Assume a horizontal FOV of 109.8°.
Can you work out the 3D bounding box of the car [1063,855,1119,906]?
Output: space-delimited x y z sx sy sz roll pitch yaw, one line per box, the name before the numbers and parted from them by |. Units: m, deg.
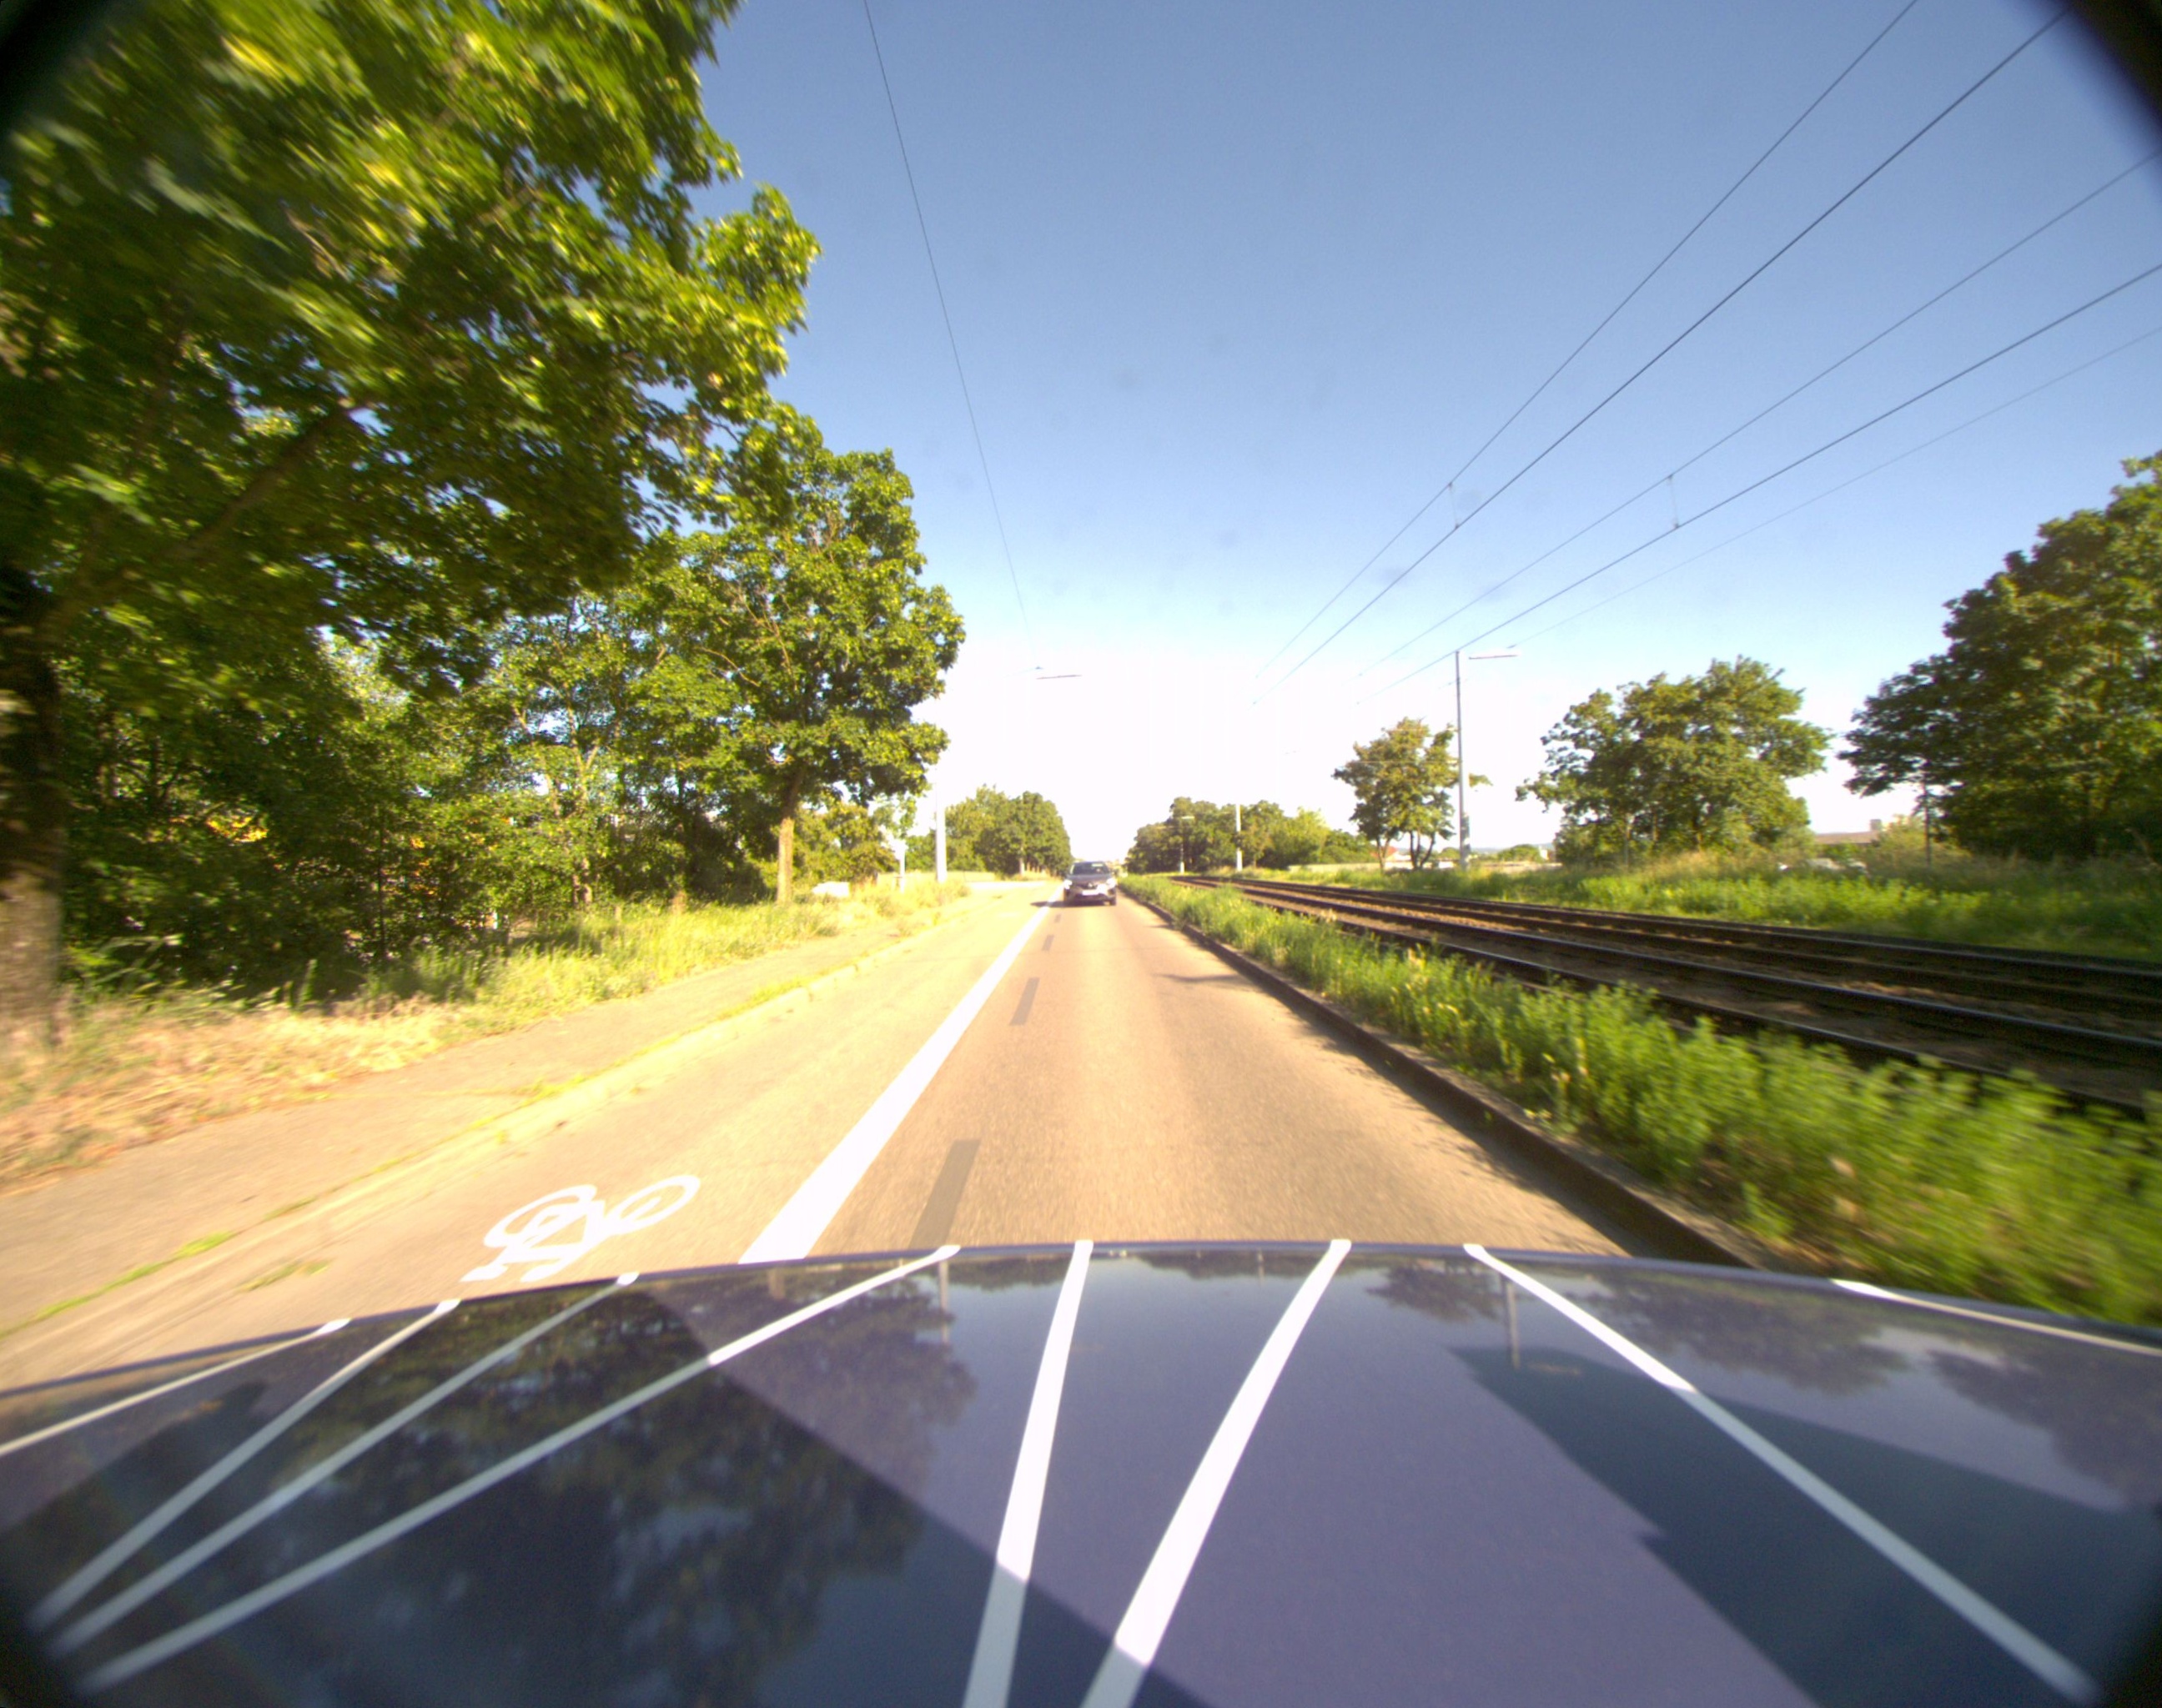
car | 0.350 0.942 27.343 1.814 1.625 4.711 -2 -2 1
